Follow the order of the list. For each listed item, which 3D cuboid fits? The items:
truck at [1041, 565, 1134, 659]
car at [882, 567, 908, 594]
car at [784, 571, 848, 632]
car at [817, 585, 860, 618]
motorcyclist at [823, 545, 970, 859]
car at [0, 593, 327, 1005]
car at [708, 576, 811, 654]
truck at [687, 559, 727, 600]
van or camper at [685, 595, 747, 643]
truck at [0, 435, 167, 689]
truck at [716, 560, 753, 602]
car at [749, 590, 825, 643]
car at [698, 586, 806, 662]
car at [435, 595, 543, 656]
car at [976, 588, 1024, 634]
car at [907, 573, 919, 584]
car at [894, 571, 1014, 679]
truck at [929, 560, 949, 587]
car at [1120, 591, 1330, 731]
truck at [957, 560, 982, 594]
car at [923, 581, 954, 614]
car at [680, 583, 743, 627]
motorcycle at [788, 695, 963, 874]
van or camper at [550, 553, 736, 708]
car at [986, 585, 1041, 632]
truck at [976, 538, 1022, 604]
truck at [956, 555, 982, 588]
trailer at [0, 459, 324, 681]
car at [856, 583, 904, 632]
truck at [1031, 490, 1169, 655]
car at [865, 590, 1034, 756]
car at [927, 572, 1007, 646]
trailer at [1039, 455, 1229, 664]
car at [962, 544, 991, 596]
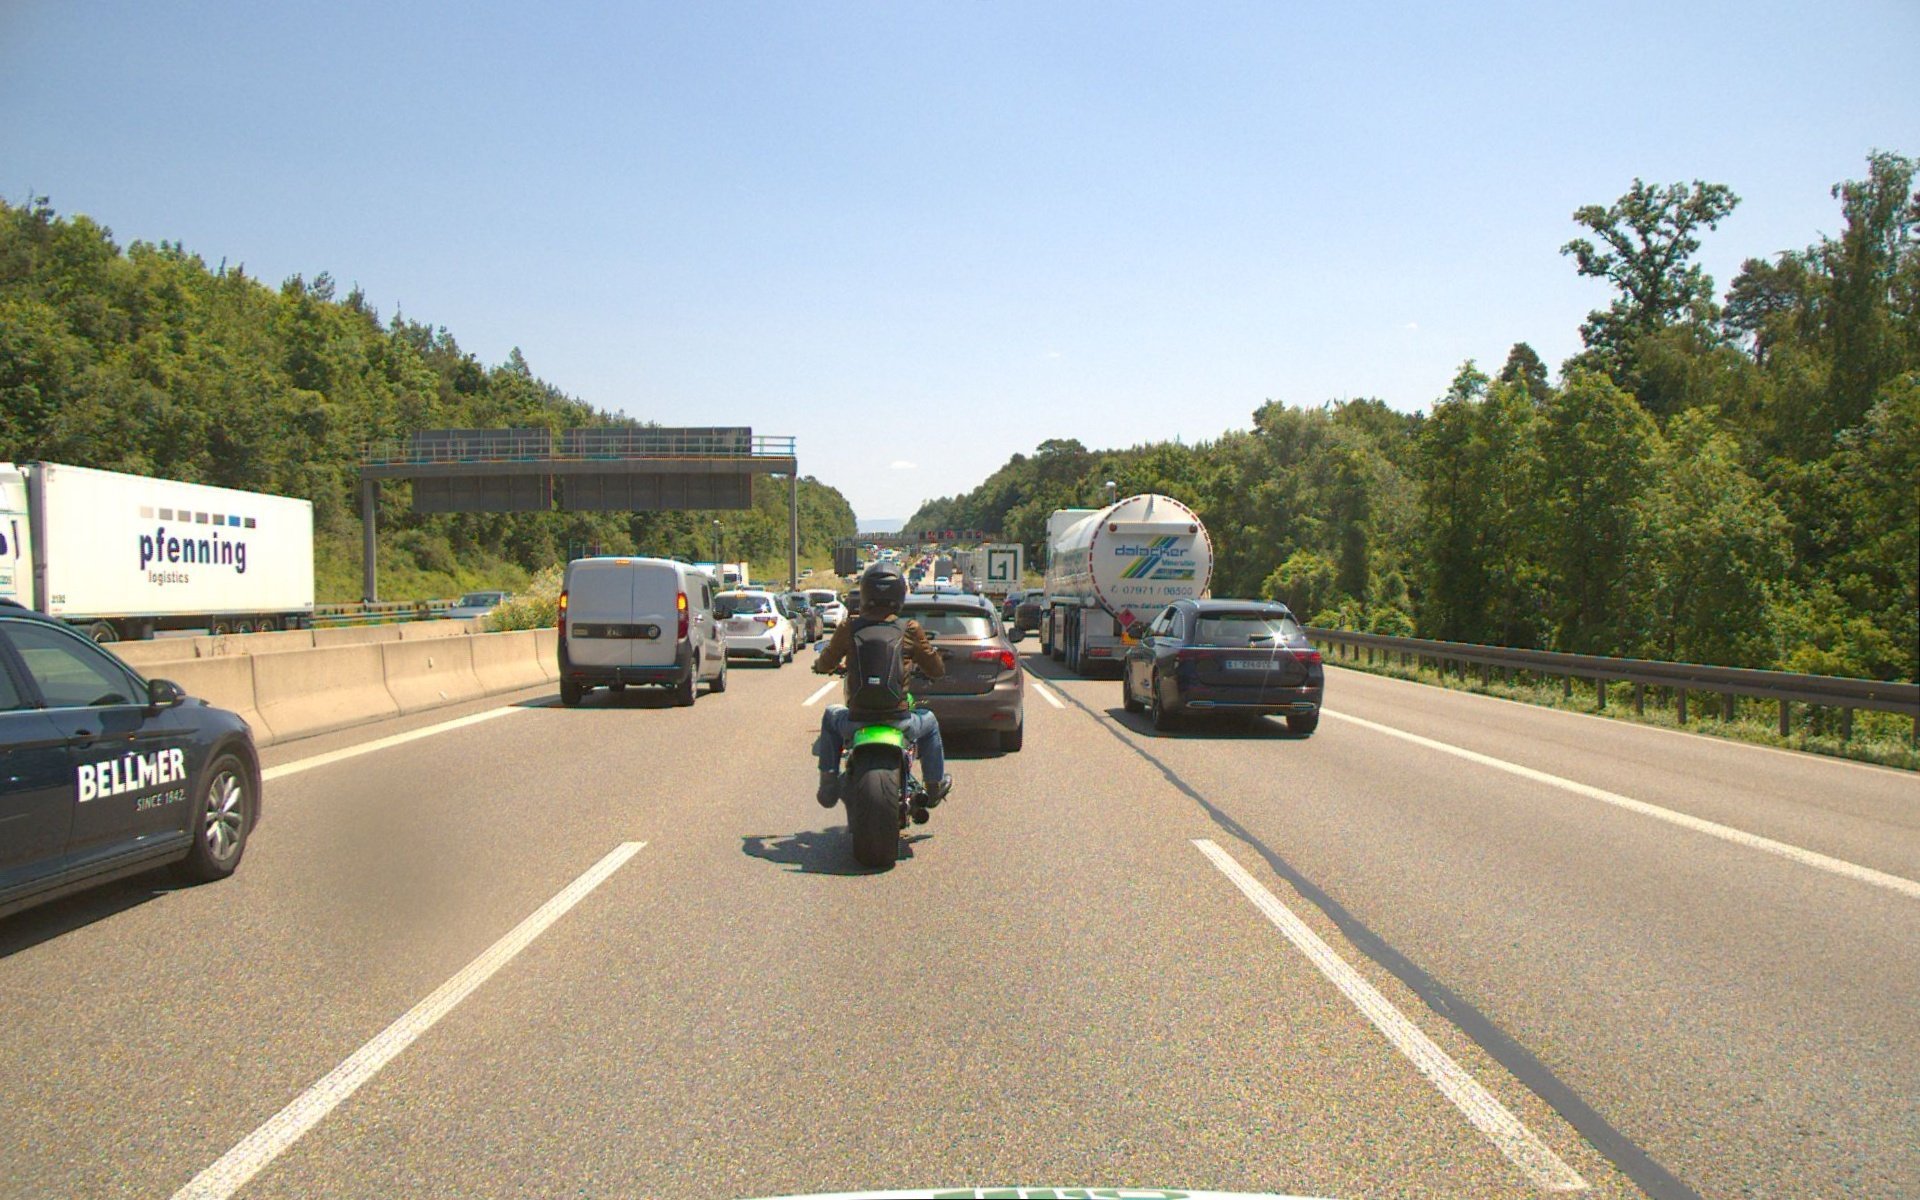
[{"bbox_3d":[4.312,0.366,57.442,2.340,3.031,8.250,1,0,-2],"label":"truck"},{"bbox_3d":[-5.074,-1.479,129.295,1.953,2.049,3.999,0,0,-1],"label":"car"},{"bbox_3d":[-5.063,0.068,58.579,1.953,2.049,3.999,1,-1,-1],"label":"car"},{"bbox_3d":[-5.675,0.103,77.539,1.728,1.467,3.999,1,-1,0],"label":"car"},{"bbox_3d":[-0.355,0.569,9.625,0.782,1.717,1.016,1,-1,-1],"label":"motorcyclist"},{"bbox_3d":[-4.369,0.706,6.688,1.836,1.475,4.677,1,0,-1],"label":"car"},{"bbox_3d":[-4.701,0.360,39.402,1.953,1.713,4.329,1,-1,-1],"label":"car"},{"bbox_3d":[-19.440,-1.542,127.494,2.133,2.935,6.740,1,-1,-1],"label":"truck"},{"bbox_3d":[-11.011,0.861,74.913,1.952,2.049,4.928,1,-1,1],"label":"van or camper"},{"bbox_3d":[-18.704,-0.673,32.221,2.889,4.560,7.516,1,-1,-1],"label":"truck"},{"bbox_3d":[-23.101,-1.930,169.799,2.637,4.059,7.988,1,-1,-1],"label":"truck"},{"bbox_3d":[-5.085,0.490,49.056,1.954,1.490,3.998,1,-1,-3],"label":"car"},{"bbox_3d":[-4.219,0.488,34.061,1.740,1.435,3.999,1,-1,-1],"label":"car"},{"bbox_3d":[-14.558,0.782,51.360,1.952,1.794,4.452,1,-1,1],"label":"car"},{"bbox_3d":[1.820,0.506,76.729,1.953,2.049,3.998,1,-1,-2],"label":"car"},{"bbox_3d":[-7.200,-3.292,253.140,1.734,1.583,3.999,0,0,-1],"label":"car"},{"bbox_3d":[-0.146,0.438,29.113,1.953,1.741,3.998,1,-1,-2],"label":"car"},{"bbox_3d":[-2.830,-3.599,226.172,2.641,3.465,10.476,0,0,-1],"label":"truck"},{"bbox_3d":[3.089,0.682,20.152,1.755,1.484,4.623,1,-1,-1],"label":"car"},{"bbox_3d":[0.658,-1.516,111.040,1.558,2.148,3.752,1,-1,2],"label":"truck"},{"bbox_3d":[-1.402,-0.168,106.064,1.953,2.049,3.999,0,0,-1],"label":"car"},{"bbox_3d":[-8.960,0.158,59.896,1.788,1.521,3.999,0,0,-2],"label":"car"},{"bbox_3d":[-0.461,1.049,9.941,0.917,0.807,2.298,1,0,-1],"label":"motorcycle"},{"bbox_3d":[-4.285,0.351,23.013,1.815,1.913,4.560,1,1,-2],"label":"van or camper"},{"bbox_3d":[1.849,0.298,57.846,1.740,1.554,3.999,1,-1,-1],"label":"car"},{"bbox_3d":[2.496,-1.768,103.964,2.794,3.888,7.189,1,-1,2],"label":"truck"},{"bbox_3d":[0.947,-3.083,181.790,2.641,3.465,10.476,0,0,-1],"label":"truck"},{"bbox_3d":[-18.825,-0.559,39.779,2.889,4.560,10.814,1,-1,-1],"label":"trailer"},{"bbox_3d":[-3.502,0.339,73.080,1.953,2.049,3.999,1,-1,-1],"label":"car"},{"bbox_3d":[3.351,-0.593,41.066,2.770,3.735,6.428,1,-1,-1],"label":"truck"},{"bbox_3d":[-0.113,0.657,16.978,1.509,1.475,3.999,1,0,-1],"label":"car"},{"bbox_3d":[0.143,0.240,43.169,1.953,1.806,3.998,1,-1,-2],"label":"car"},{"bbox_3d":[3.411,-0.666,35.271,2.770,3.735,10.730,1,-1,-1],"label":"trailer"},{"bbox_3d":[1.298,-2.379,135.962,2.123,3.961,9.328,1,-1,-1],"label":"car"}]
